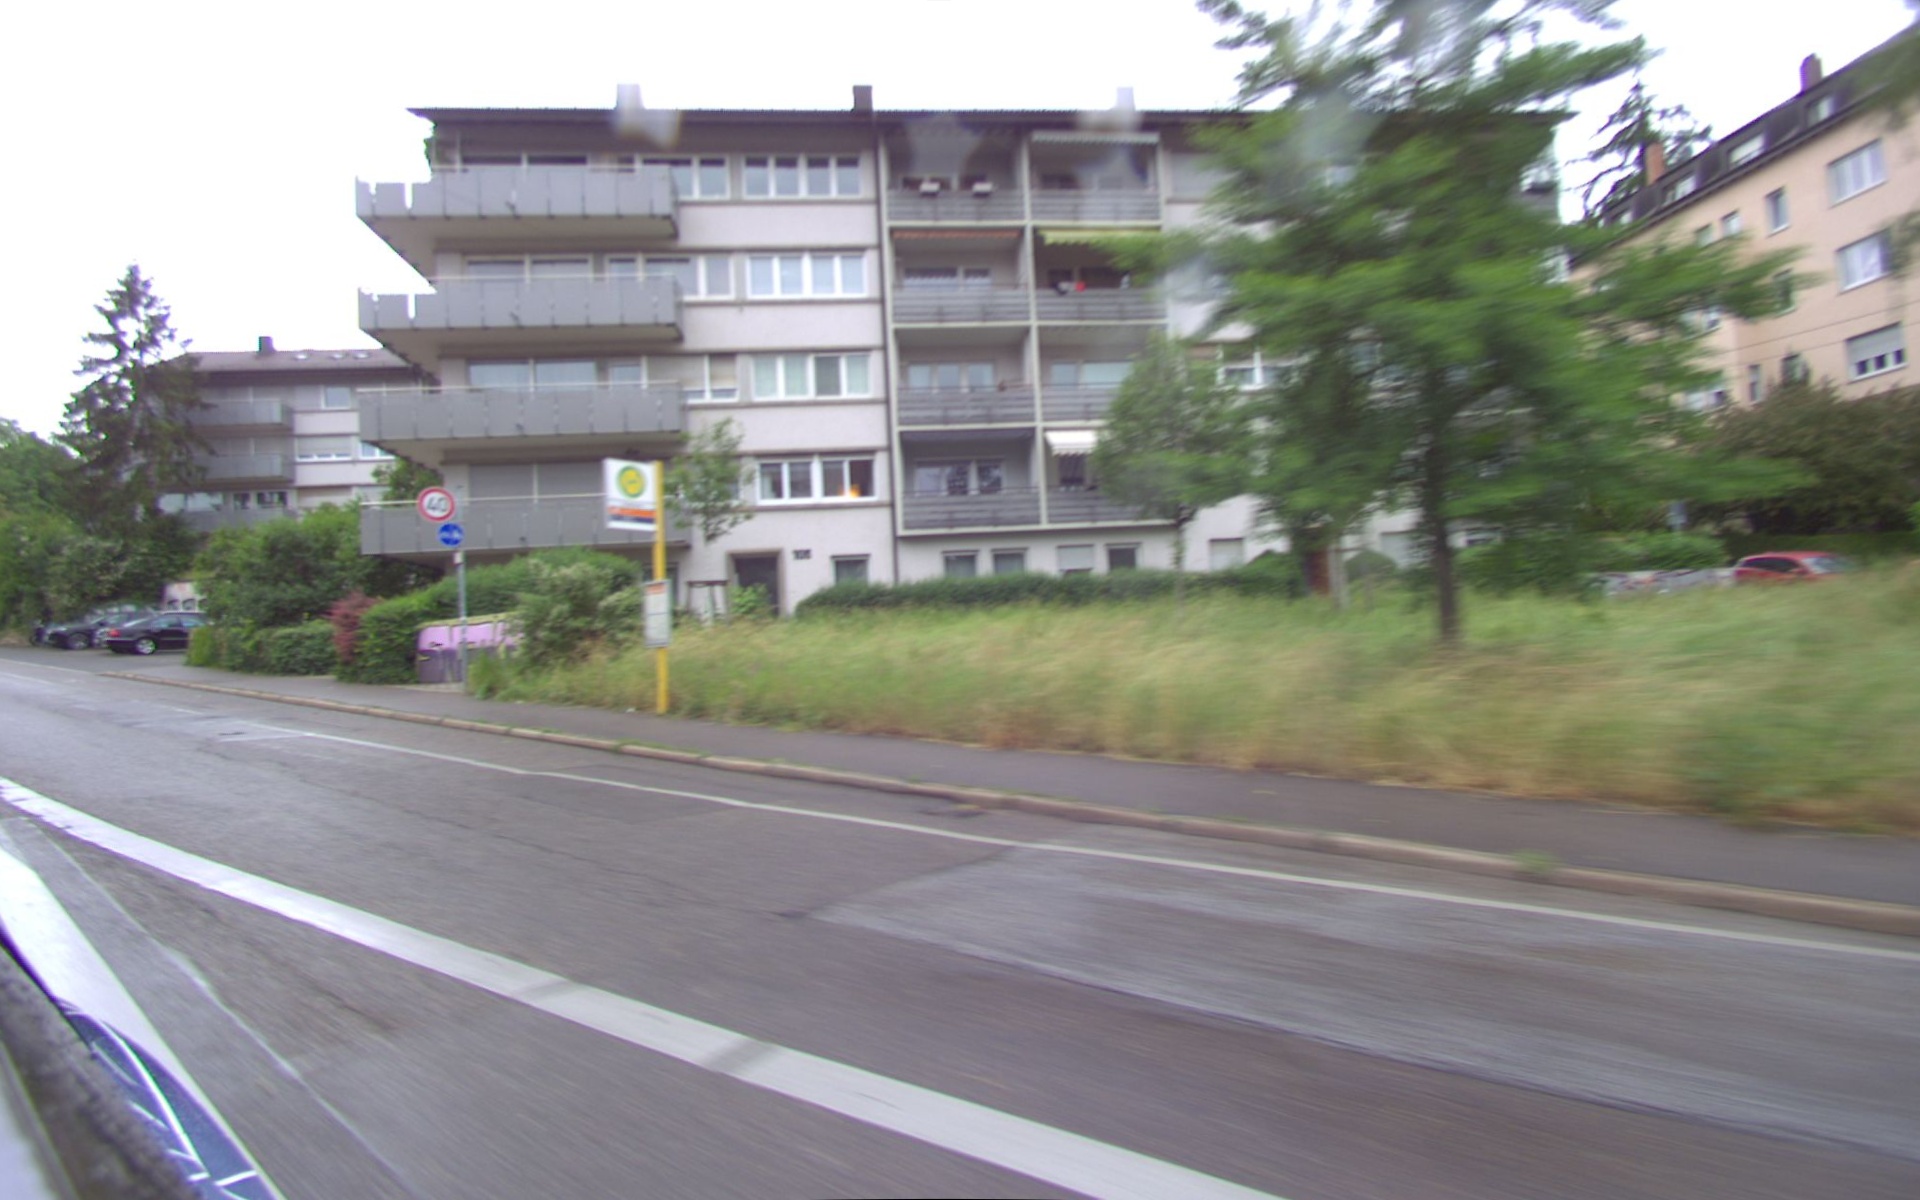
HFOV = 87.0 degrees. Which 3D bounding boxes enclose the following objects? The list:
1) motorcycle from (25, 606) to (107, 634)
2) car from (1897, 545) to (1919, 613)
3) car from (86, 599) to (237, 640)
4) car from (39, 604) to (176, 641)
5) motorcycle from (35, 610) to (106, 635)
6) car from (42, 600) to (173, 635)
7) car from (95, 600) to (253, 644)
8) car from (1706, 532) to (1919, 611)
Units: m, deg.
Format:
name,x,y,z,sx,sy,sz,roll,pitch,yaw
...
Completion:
name,x,y,z,sx,sy,sz,roll,pitch,yaw
motorcycle,-42.288,0.921,47.920,2.765,1.282,1.282,0,0,-36
car,27.232,-0.570,26.084,1.777,1.849,4.292,0,-1,-9
car,-31.303,0.749,39.795,1.772,1.539,4.387,0,-1,37
car,-37.376,0.953,44.447,1.773,1.539,4.384,0,-1,40
motorcycle,-41.020,1.024,46.684,2.426,1.117,0.661,1,-1,-44
car,-39.203,0.795,46.612,1.773,1.539,4.384,0,-1,40
car,-29.562,0.791,38.173,1.847,1.501,4.440,0,1,40
car,22.011,-0.676,26.172,1.777,1.849,4.293,-1,0,-9
